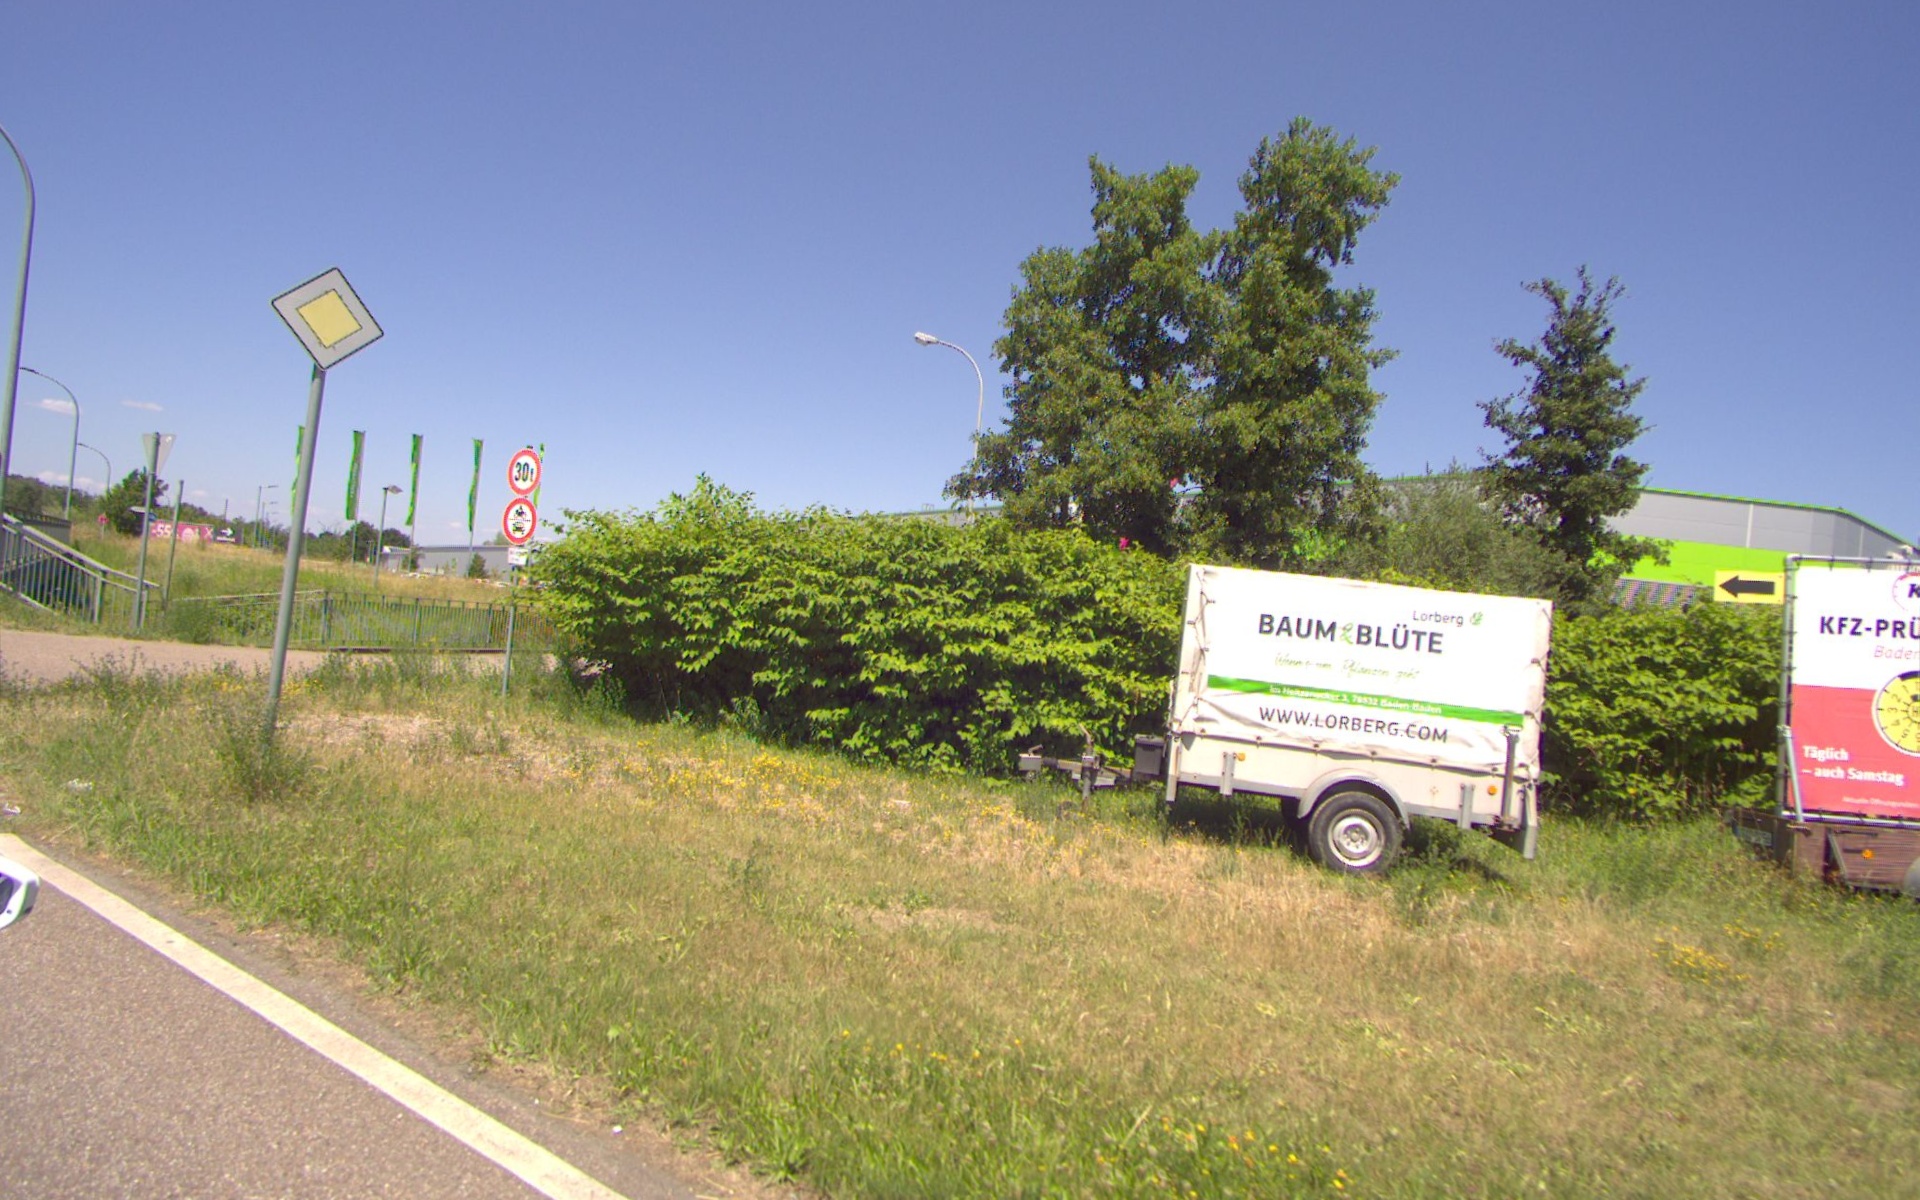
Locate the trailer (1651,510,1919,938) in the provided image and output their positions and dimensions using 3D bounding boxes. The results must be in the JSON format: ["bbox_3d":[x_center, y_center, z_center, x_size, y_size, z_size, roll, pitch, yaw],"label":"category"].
[{"bbox_3d":[7.269,0.959,7.252,3.087,2.702,1.854,6,-1,10],"label":"trailer"}]

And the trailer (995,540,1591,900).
[{"bbox_3d":[2.424,0.842,8.061,3.893,2.102,1.854,6,-1,10],"label":"trailer"}]
